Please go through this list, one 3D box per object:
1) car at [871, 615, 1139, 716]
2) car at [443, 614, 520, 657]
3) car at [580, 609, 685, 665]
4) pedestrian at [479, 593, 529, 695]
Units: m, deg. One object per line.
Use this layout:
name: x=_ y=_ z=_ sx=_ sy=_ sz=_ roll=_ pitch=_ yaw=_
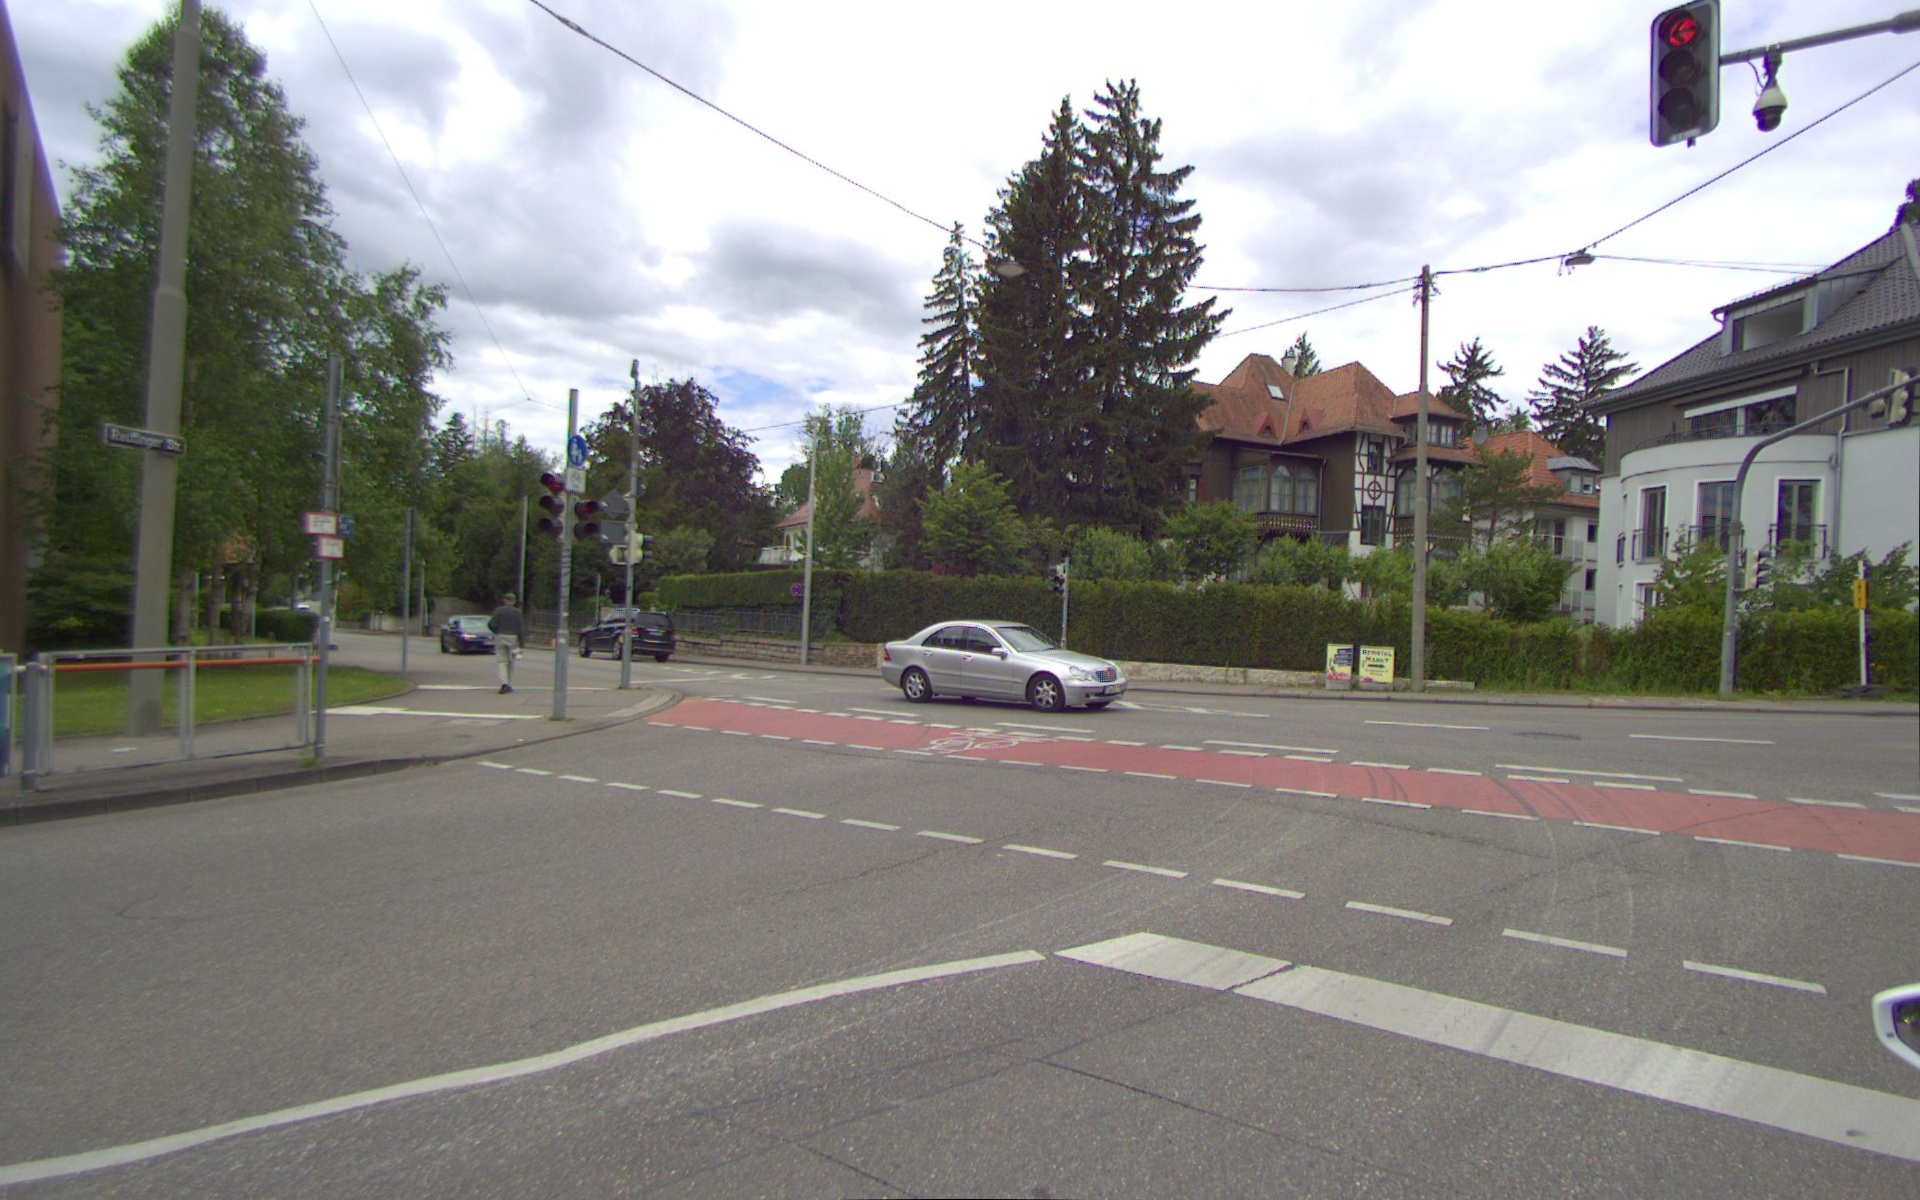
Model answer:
car: x=0.675 y=1.002 z=17.000 sx=4.356 sy=1.432 sz=1.702 roll=1 pitch=0 yaw=38
car: x=-18.462 y=1.347 z=38.686 sx=1.816 sy=1.556 sz=3.955 roll=2 pitch=-2 yaw=-39
car: x=-12.060 y=1.333 z=36.757 sx=1.903 sy=1.905 sz=5.082 roll=3 pitch=-2 yaw=-40
pedestrian: x=-7.628 y=0.717 z=16.787 sx=0.676 sy=1.655 sz=0.734 roll=0 pitch=-1 yaw=-31
